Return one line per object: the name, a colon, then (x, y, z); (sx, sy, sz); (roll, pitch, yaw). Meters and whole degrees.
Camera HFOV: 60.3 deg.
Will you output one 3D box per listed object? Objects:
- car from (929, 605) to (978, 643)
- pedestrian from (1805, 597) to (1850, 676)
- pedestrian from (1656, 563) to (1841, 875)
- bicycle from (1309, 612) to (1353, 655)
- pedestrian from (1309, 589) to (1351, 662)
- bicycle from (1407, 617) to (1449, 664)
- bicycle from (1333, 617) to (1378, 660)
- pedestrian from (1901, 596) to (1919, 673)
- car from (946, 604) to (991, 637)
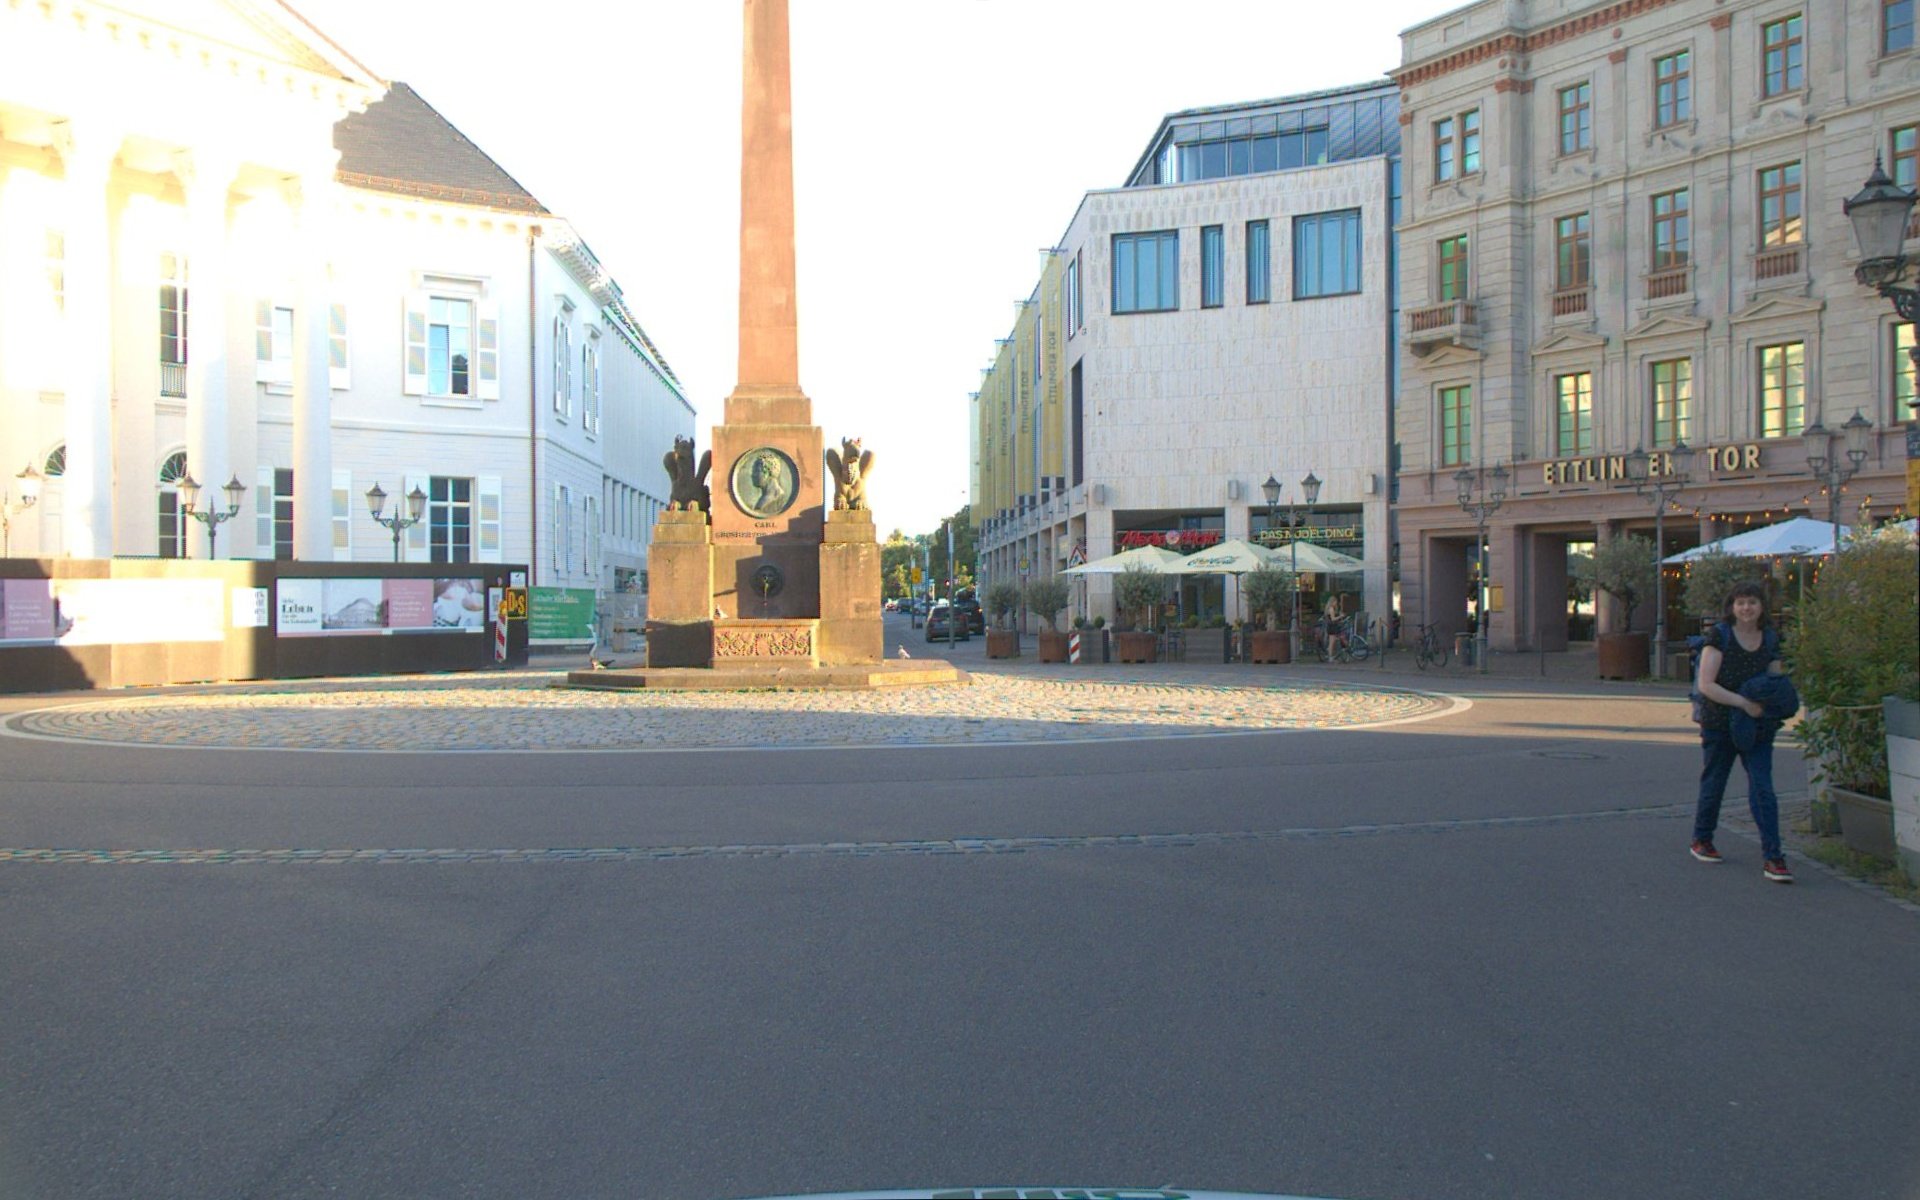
car: (-0.287, 0.971, 68.997); (1.953, 1.489, 3.999); (0, 0, -2)
pedestrian: (16.765, 0.696, 31.978); (0.532, 1.504, 0.624); (-1, 0, -2)
pedestrian: (4.409, 0.640, 9.287); (0.676, 1.676, 0.695); (-1, 0, -4)
bicycle: (9.383, 0.835, 41.802); (0.588, 1.050, 1.641); (-1, 0, 32)
pedestrian: (9.020, 0.622, 40.324); (0.885, 1.759, 0.850); (-1, 0, 5)
bicycle: (10.800, 0.927, 38.163); (0.497, 1.050, 1.641); (-1, 0, 32)
bicycle: (9.925, 0.953, 41.496); (0.608, 1.050, 1.641); (-1, 0, 32)
pedestrian: (19.041, 0.671, 32.688); (0.577, 1.504, 0.625); (-1, 0, 8)
car: (0.367, 0.929, 77.511); (1.953, 1.489, 3.999); (0, 0, -2)
